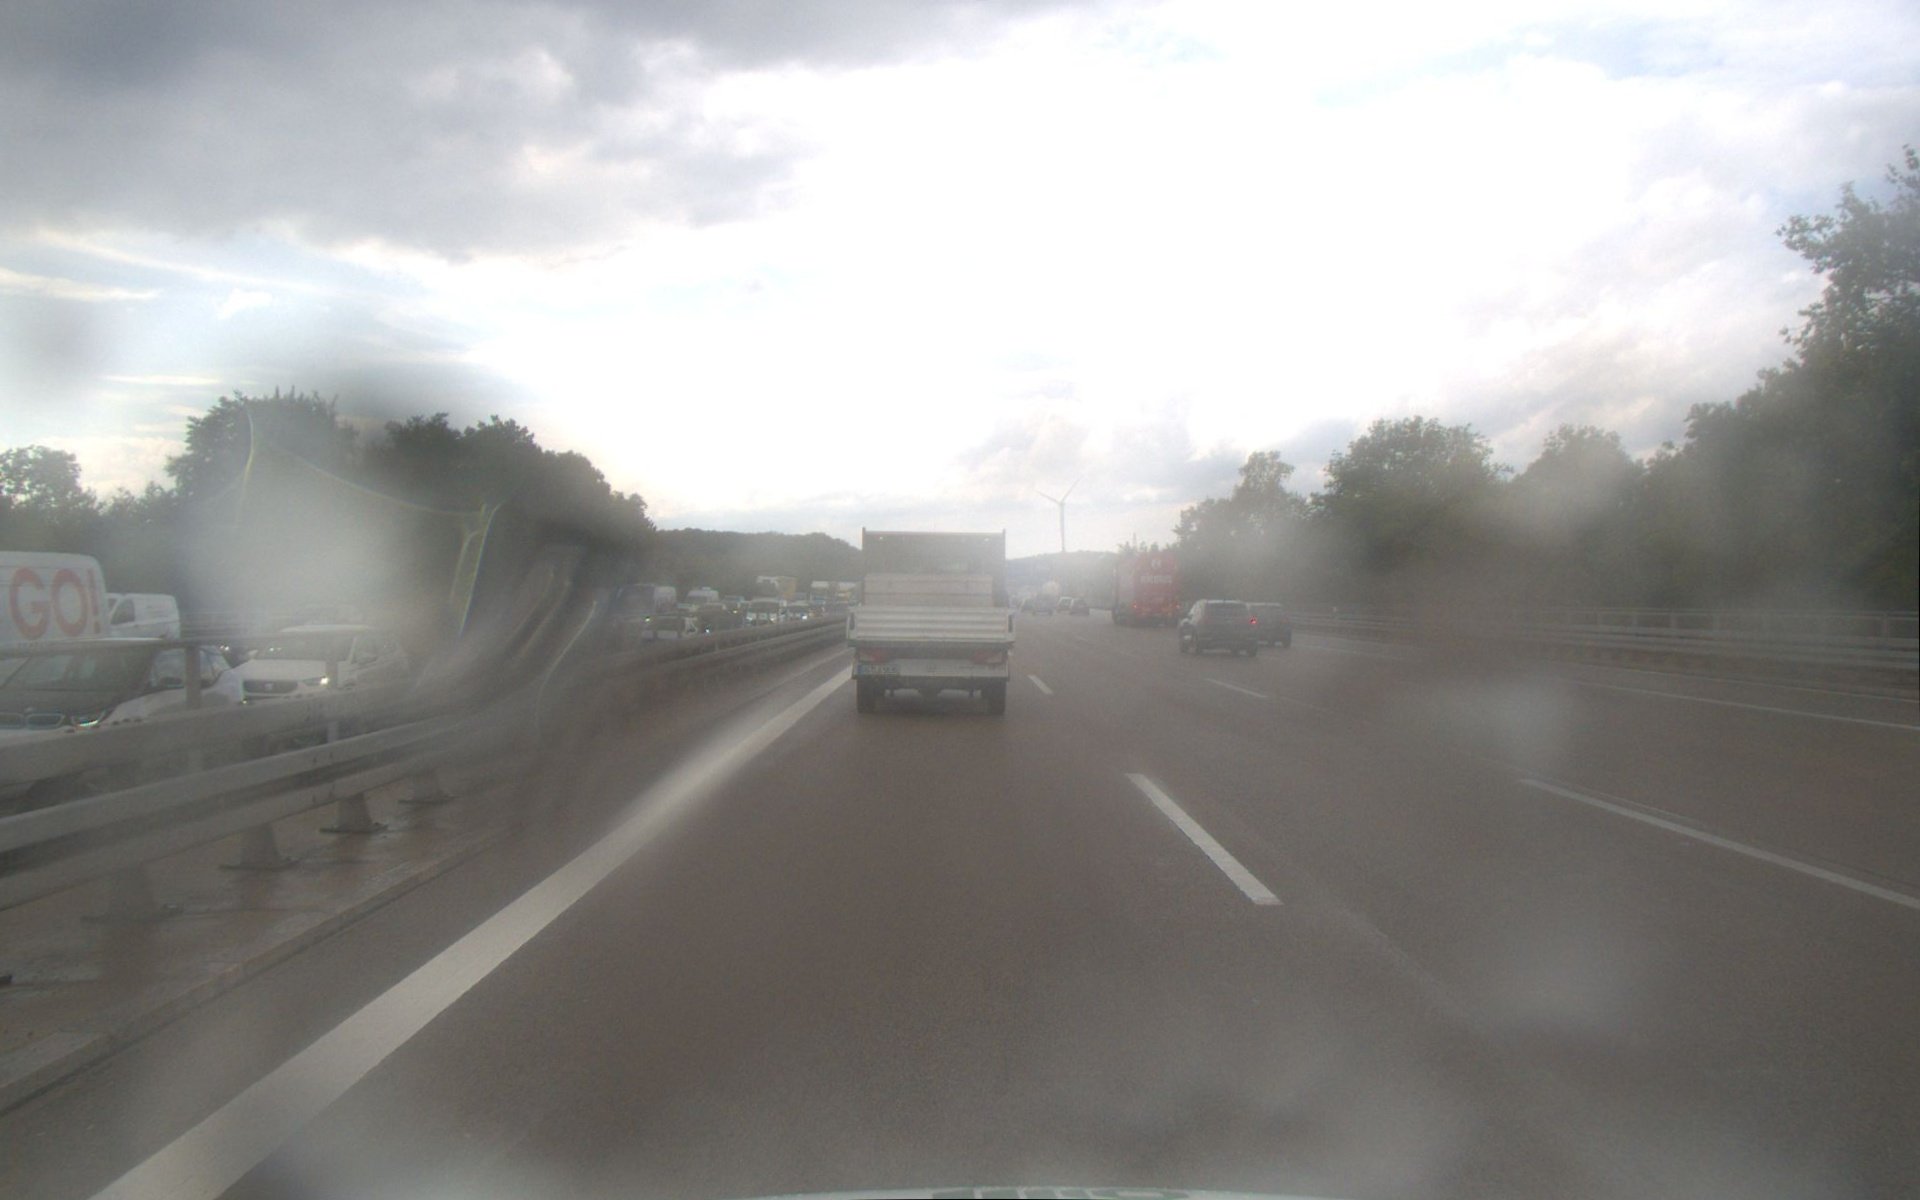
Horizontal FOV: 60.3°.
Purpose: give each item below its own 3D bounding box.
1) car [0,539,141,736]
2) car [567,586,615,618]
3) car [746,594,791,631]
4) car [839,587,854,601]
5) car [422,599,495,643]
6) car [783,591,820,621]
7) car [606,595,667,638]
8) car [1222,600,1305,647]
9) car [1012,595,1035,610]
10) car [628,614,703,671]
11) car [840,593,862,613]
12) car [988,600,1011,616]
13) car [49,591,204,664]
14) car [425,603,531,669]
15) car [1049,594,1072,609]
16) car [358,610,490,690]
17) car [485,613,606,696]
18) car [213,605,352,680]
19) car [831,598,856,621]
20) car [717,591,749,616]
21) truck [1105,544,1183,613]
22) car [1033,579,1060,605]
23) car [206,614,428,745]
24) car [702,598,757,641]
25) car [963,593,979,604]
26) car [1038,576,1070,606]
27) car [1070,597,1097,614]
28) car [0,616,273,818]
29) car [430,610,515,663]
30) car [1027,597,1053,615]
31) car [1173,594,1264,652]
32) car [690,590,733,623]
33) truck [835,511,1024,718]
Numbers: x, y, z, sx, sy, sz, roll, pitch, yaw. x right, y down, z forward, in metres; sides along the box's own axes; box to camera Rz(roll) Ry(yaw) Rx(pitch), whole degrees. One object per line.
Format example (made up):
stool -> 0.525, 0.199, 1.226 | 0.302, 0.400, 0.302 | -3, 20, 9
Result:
car -> -14.104, 0.519, 22.541 | 2.084, 2.682, 7.609 | 0, 0, 0
car -> -21.854, 0.104, 98.205 | 1.855, 1.832, 4.595 | 0, 0, -1
car -> -9.932, 0.613, 85.883 | 1.855, 1.832, 4.595 | 0, 0, -1
car -> -15.297, -0.837, 223.124 | 1.855, 1.832, 4.595 | 0, 0, -1
car -> -21.916, 0.874, 72.423 | 1.855, 1.832, 4.595 | 0, 0, -1
car -> -9.741, 0.351, 101.892 | 1.855, 1.832, 4.595 | 0, 0, -1
car -> -14.275, 0.713, 73.282 | 1.855, 1.832, 4.595 | 0, 0, -1
car -> 10.605, 0.796, 58.150 | 1.845, 1.588, 4.430 | 0, 0, -4
car -> 6.805, 0.241, 176.850 | 1.929, 1.588, 4.428 | 0, 0, -5
car -> -10.240, 1.454, 57.791 | 1.855, 1.832, 4.595 | 0, 0, -1
car -> -10.244, 0.265, 155.311 | 1.855, 1.832, 4.595 | 0, 0, -1
car -> 4.058, 0.832, 169.339 | 1.929, 1.588, 4.429 | 0, 0, -4
car -> -22.083, 0.695, 44.038 | 1.855, 1.832, 4.595 | 0, 0, -1
car -> -14.251, 1.031, 49.146 | 1.855, 1.832, 4.595 | 0, 0, -1
car -> 10.841, 0.146, 179.192 | 1.929, 1.588, 4.429 | 0, 0, -4
car -> -13.290, 1.194, 41.286 | 1.855, 1.832, 4.595 | 0, 0, -1
car -> -10.055, 1.277, 40.501 | 1.855, 1.832, 4.595 | 0, 0, -1
car -> -17.889, 1.070, 43.898 | 1.855, 1.832, 4.595 | 0, 0, -1
car -> -9.687, 0.797, 137.593 | 1.855, 1.832, 4.595 | 0, 0, -1
car -> -17.146, 0.244, 125.089 | 1.855, 1.832, 4.595 | 0, 0, -1
truck -> 10.494, -1.295, 95.803 | 3.088, 3.664, 12.700 | 1, 1, 0
car -> 7.191, -0.715, 137.167 | 1.953, 2.048, 4.000 | 1, 1, -1
car -> -10.087, 1.175, 26.346 | 1.855, 1.832, 4.594 | 0, 0, -2
car -> -10.101, 0.835, 72.782 | 1.855, 1.832, 4.595 | 0, 0, -1
car -> 1.604, -0.219, 234.361 | 1.929, 1.588, 4.430 | 0, 0, -4
car -> 6.760, -0.642, 118.911 | 1.953, 2.048, 4.000 | 1, 1, -1
car -> 11.690, 0.516, 156.844 | 1.929, 1.588, 4.429 | 0, 0, -4
car -> -9.646, 1.138, 18.352 | 1.855, 1.832, 5.568 | 0, 0, -2
car -> -18.138, 1.323, 61.689 | 1.855, 1.832, 4.595 | 0, 0, -1
car -> 7.533, 0.568, 155.503 | 1.929, 1.588, 4.429 | 0, 0, -4
car -> 7.342, 0.622, 47.288 | 1.844, 1.569, 4.432 | 0, 0, -1
car -> -14.319, 0.340, 95.427 | 1.855, 1.832, 4.595 | 0, 0, -1
truck -> -0.404, 0.076, 23.532 | 2.260, 2.482, 7.148 | 0, 2, -1
